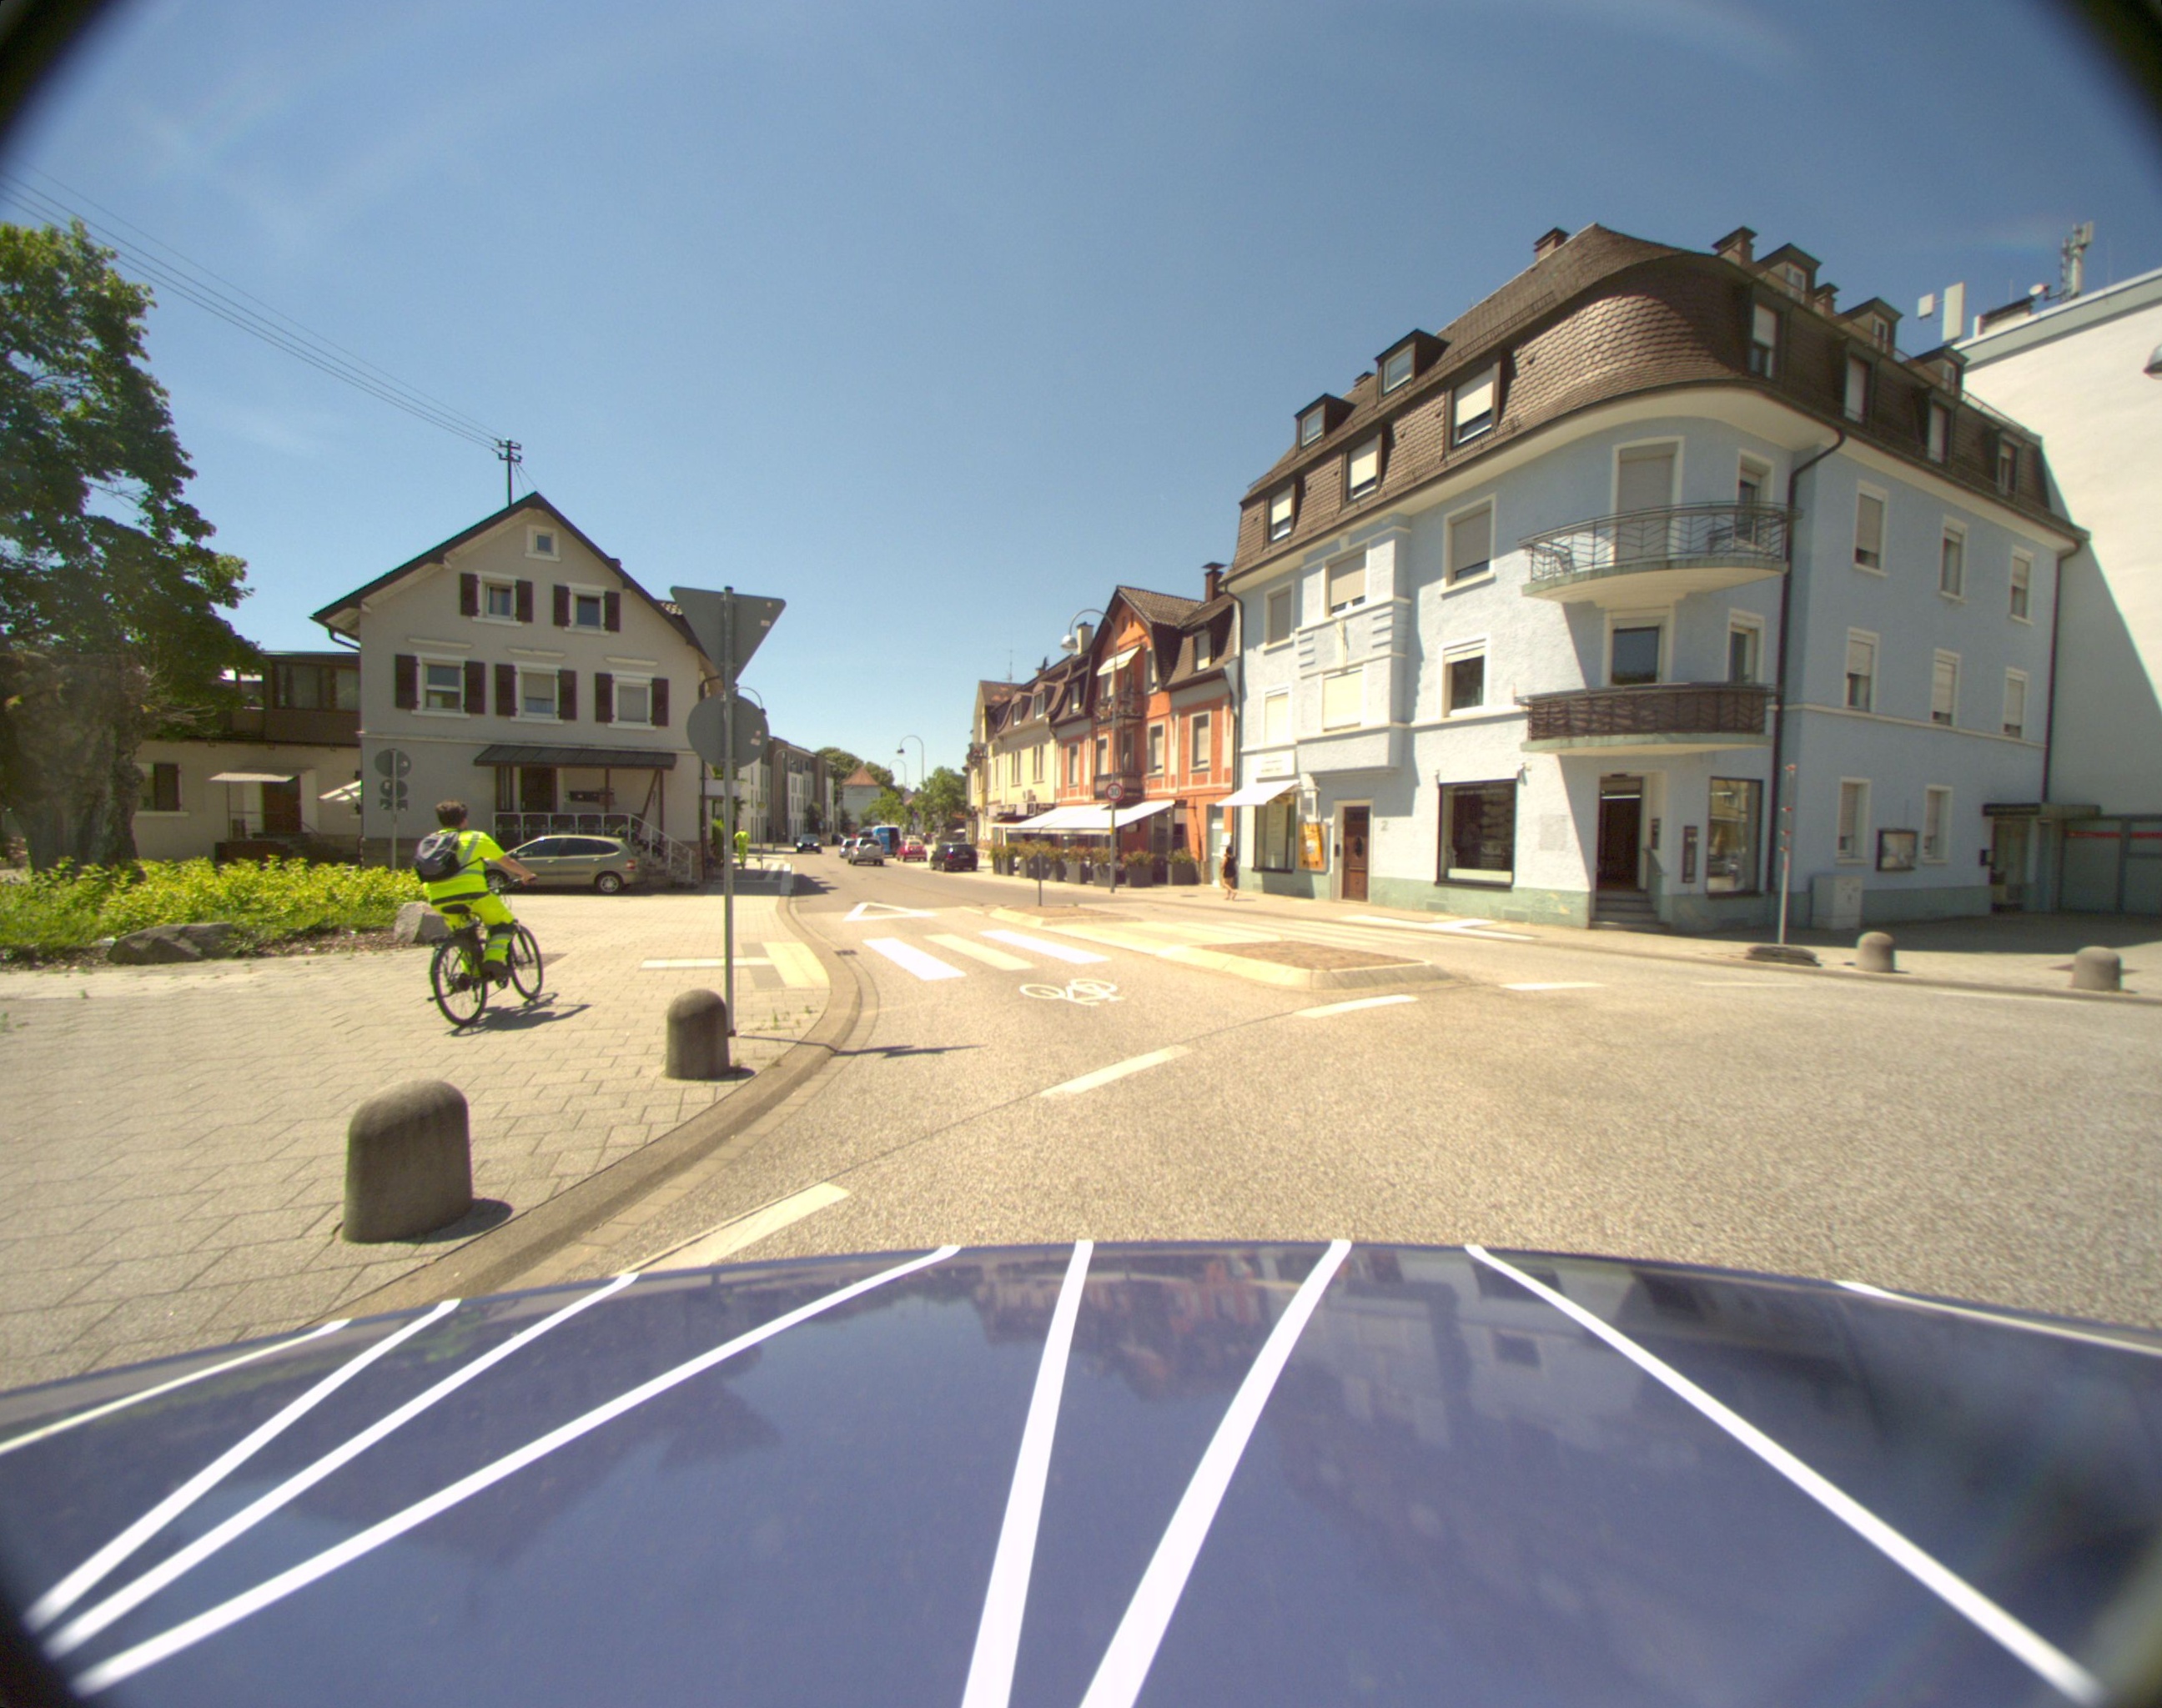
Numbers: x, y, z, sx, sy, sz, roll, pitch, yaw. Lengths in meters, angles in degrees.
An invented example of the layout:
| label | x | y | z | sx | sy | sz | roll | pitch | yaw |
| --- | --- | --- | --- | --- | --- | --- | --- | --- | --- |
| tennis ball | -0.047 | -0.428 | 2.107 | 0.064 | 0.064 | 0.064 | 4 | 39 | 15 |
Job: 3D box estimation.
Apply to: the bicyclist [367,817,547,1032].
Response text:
| label | x | y | z | sx | sy | sz | roll | pitch | yaw |
| --- | --- | --- | --- | --- | --- | --- | --- | --- | --- |
| bicyclist | -5.150 | 0.539 | 6.363 | 0.811 | 1.626 | 1.060 | 1 | 1 | -18 |

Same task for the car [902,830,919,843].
| label | x | y | z | sx | sy | sz | roll | pitch | yaw |
| --- | --- | --- | --- | --- | --- | --- | --- | --- | --- |
| car | -21.377 | -2.241 | 95.345 | 1.683 | 1.538 | 3.589 | -1 | 2 | -9 |

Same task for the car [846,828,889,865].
| label | x | y | z | sx | sy | sz | roll | pitch | yaw |
| --- | --- | --- | --- | --- | --- | --- | --- | --- | --- |
| car | -12.859 | -0.485 | 45.590 | 1.933 | 2.096 | 4.440 | 2 | 1 | -22 |

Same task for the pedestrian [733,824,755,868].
| label | x | y | z | sx | sy | sz | roll | pitch | yaw |
| --- | --- | --- | --- | --- | --- | --- | --- | --- | --- |
| pedestrian | -16.008 | -0.383 | 36.055 | 0.922 | 2.019 | 0.898 | 0 | 3 | -26 |

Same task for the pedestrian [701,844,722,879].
| label | x | y | z | sx | sy | sz | roll | pitch | yaw |
| --- | --- | --- | --- | --- | --- | --- | --- | --- | --- |
| pedestrian | -13.889 | 0.283 | 28.568 | 0.686 | 1.278 | 0.579 | 0 | 2 | -27 |

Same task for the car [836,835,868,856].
| label | x | y | z | sx | sy | sz | roll | pitch | yaw |
| --- | --- | --- | --- | --- | --- | --- | --- | --- | --- |
| car | -17.172 | -0.660 | 56.923 | 1.686 | 1.449 | 3.584 | 1 | 2 | -27 |

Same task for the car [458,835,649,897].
| label | x | y | z | sx | sy | sz | roll | pitch | yaw |
| --- | --- | --- | --- | --- | --- | --- | --- | --- | --- |
| car | -14.324 | 0.338 | 20.925 | 4.005 | 1.587 | 1.791 | 1 | 1 | -22 |

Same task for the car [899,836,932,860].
| label | x | y | z | sx | sy | sz | roll | pitch | yaw |
| --- | --- | --- | --- | --- | --- | --- | --- | --- | --- |
| car | -11.299 | -0.442 | 51.655 | 1.685 | 1.538 | 3.586 | -2 | 3 | -20 |

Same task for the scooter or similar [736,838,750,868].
| label | x | y | z | sx | sy | sz | roll | pitch | yaw |
| --- | --- | --- | --- | --- | --- | --- | --- | --- | --- |
| scooter or similar | -16.026 | -0.041 | 36.018 | 0.528 | 1.365 | 1.344 | 0 | 2 | -26 |

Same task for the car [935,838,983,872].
| label | x | y | z | sx | sy | sz | roll | pitch | yaw |
| --- | --- | --- | --- | --- | --- | --- | --- | --- | --- |
| car | -6.329 | 0.011 | 39.052 | 1.685 | 1.538 | 3.938 | -2 | 3 | -20 |

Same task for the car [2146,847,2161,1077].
| label | x | y | z | sx | sy | sz | roll | pitch | yaw |
| --- | --- | --- | --- | --- | --- | --- | --- | --- | --- |
| car | 9.212 | 0.818 | 3.862 | 4.159 | 1.553 | 2.002 | 3 | 1 | 10 |

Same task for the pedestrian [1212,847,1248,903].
| label | x | y | z | sx | sy | sz | roll | pitch | yaw |
| --- | --- | --- | --- | --- | --- | --- | --- | --- | --- |
| pedestrian | 4.234 | 0.584 | 21.665 | 0.629 | 1.516 | 0.801 | -3 | 3 | -27 |

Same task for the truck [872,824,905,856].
| label | x | y | z | sx | sy | sz | roll | pitch | yaw |
| --- | --- | --- | --- | --- | --- | --- | --- | --- | --- |
| truck | -14.911 | -1.120 | 58.745 | 1.964 | 2.357 | 4.328 | -2 | 3 | -20 |

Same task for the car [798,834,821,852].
| label | x | y | z | sx | sy | sz | roll | pitch | yaw |
| --- | --- | --- | --- | --- | --- | --- | --- | --- | --- |
| car | -23.972 | -0.991 | 67.153 | 1.756 | 1.538 | 3.586 | -2 | 3 | -19 |

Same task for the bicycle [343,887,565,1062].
| label | x | y | z | sx | sy | sz | roll | pitch | yaw |
| --- | --- | --- | --- | --- | --- | --- | --- | --- | --- |
| bicycle | -5.188 | 0.915 | 6.463 | 0.811 | 1.149 | 1.849 | 2 | 1 | -18 |
